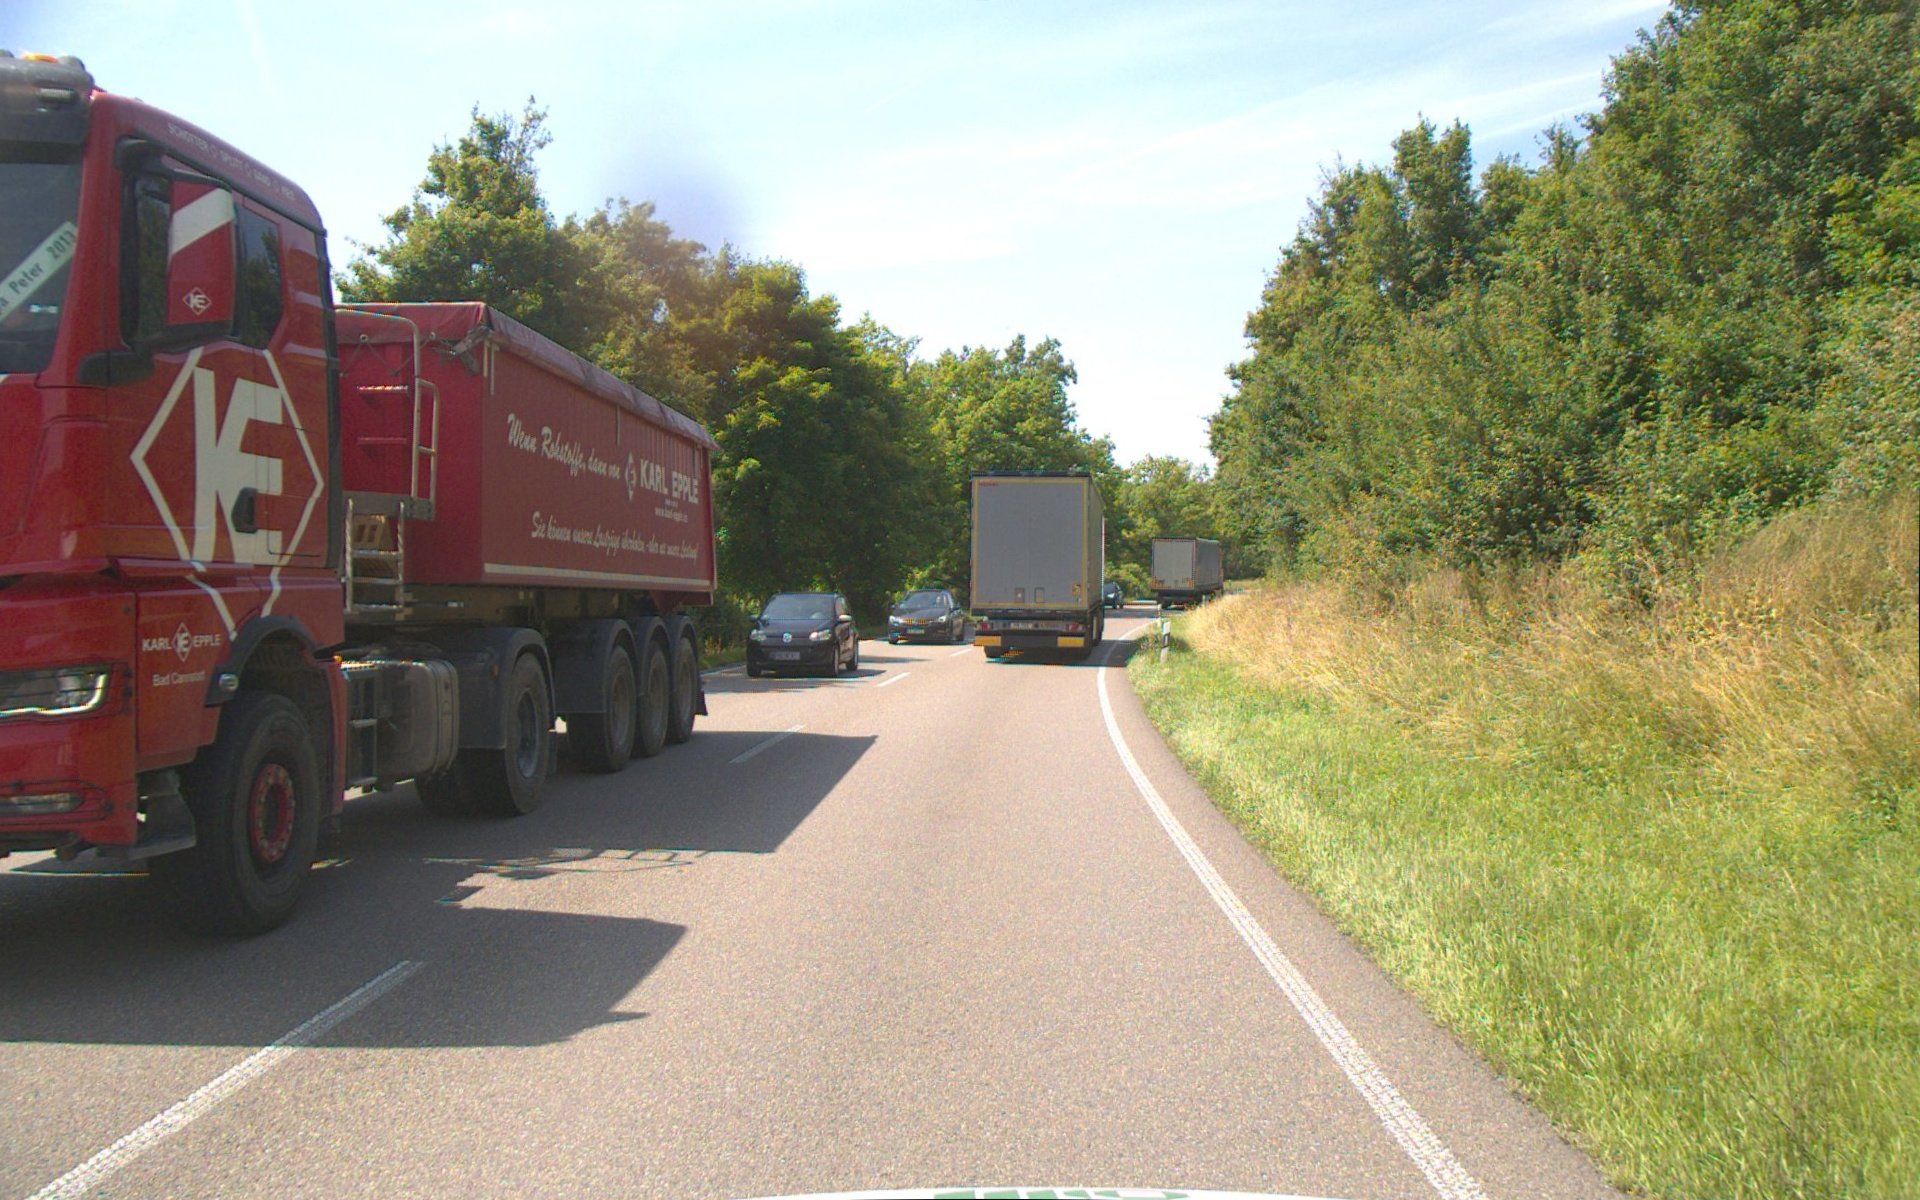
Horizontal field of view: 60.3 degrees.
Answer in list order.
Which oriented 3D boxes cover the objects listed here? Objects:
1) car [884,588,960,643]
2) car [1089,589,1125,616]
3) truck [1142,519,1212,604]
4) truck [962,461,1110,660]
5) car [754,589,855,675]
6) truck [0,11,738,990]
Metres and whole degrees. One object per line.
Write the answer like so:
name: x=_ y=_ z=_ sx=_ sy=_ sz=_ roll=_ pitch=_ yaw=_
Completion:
car: x=-1.011 y=0.405 z=46.496 sx=1.673 sy=1.496 sz=4.378 roll=0 pitch=0 yaw=5
car: x=8.568 y=0.143 z=96.427 sx=1.634 sy=1.558 sz=3.961 roll=0 pitch=0 yaw=12
truck: x=13.438 y=-2.382 z=101.171 sx=3.038 sy=4.787 sz=16.606 roll=-1 pitch=1 yaw=11
truck: x=2.284 y=-0.914 z=42.251 sx=2.742 sy=4.139 sz=15.337 roll=0 pitch=1 yaw=6
car: x=-2.783 y=0.545 z=30.148 sx=1.400 sy=1.496 sz=3.273 roll=0 pitch=0 yaw=2
truck: x=-3.956 y=-0.376 z=12.284 sx=2.499 sy=3.513 sz=12.637 roll=0 pitch=0 yaw=2
